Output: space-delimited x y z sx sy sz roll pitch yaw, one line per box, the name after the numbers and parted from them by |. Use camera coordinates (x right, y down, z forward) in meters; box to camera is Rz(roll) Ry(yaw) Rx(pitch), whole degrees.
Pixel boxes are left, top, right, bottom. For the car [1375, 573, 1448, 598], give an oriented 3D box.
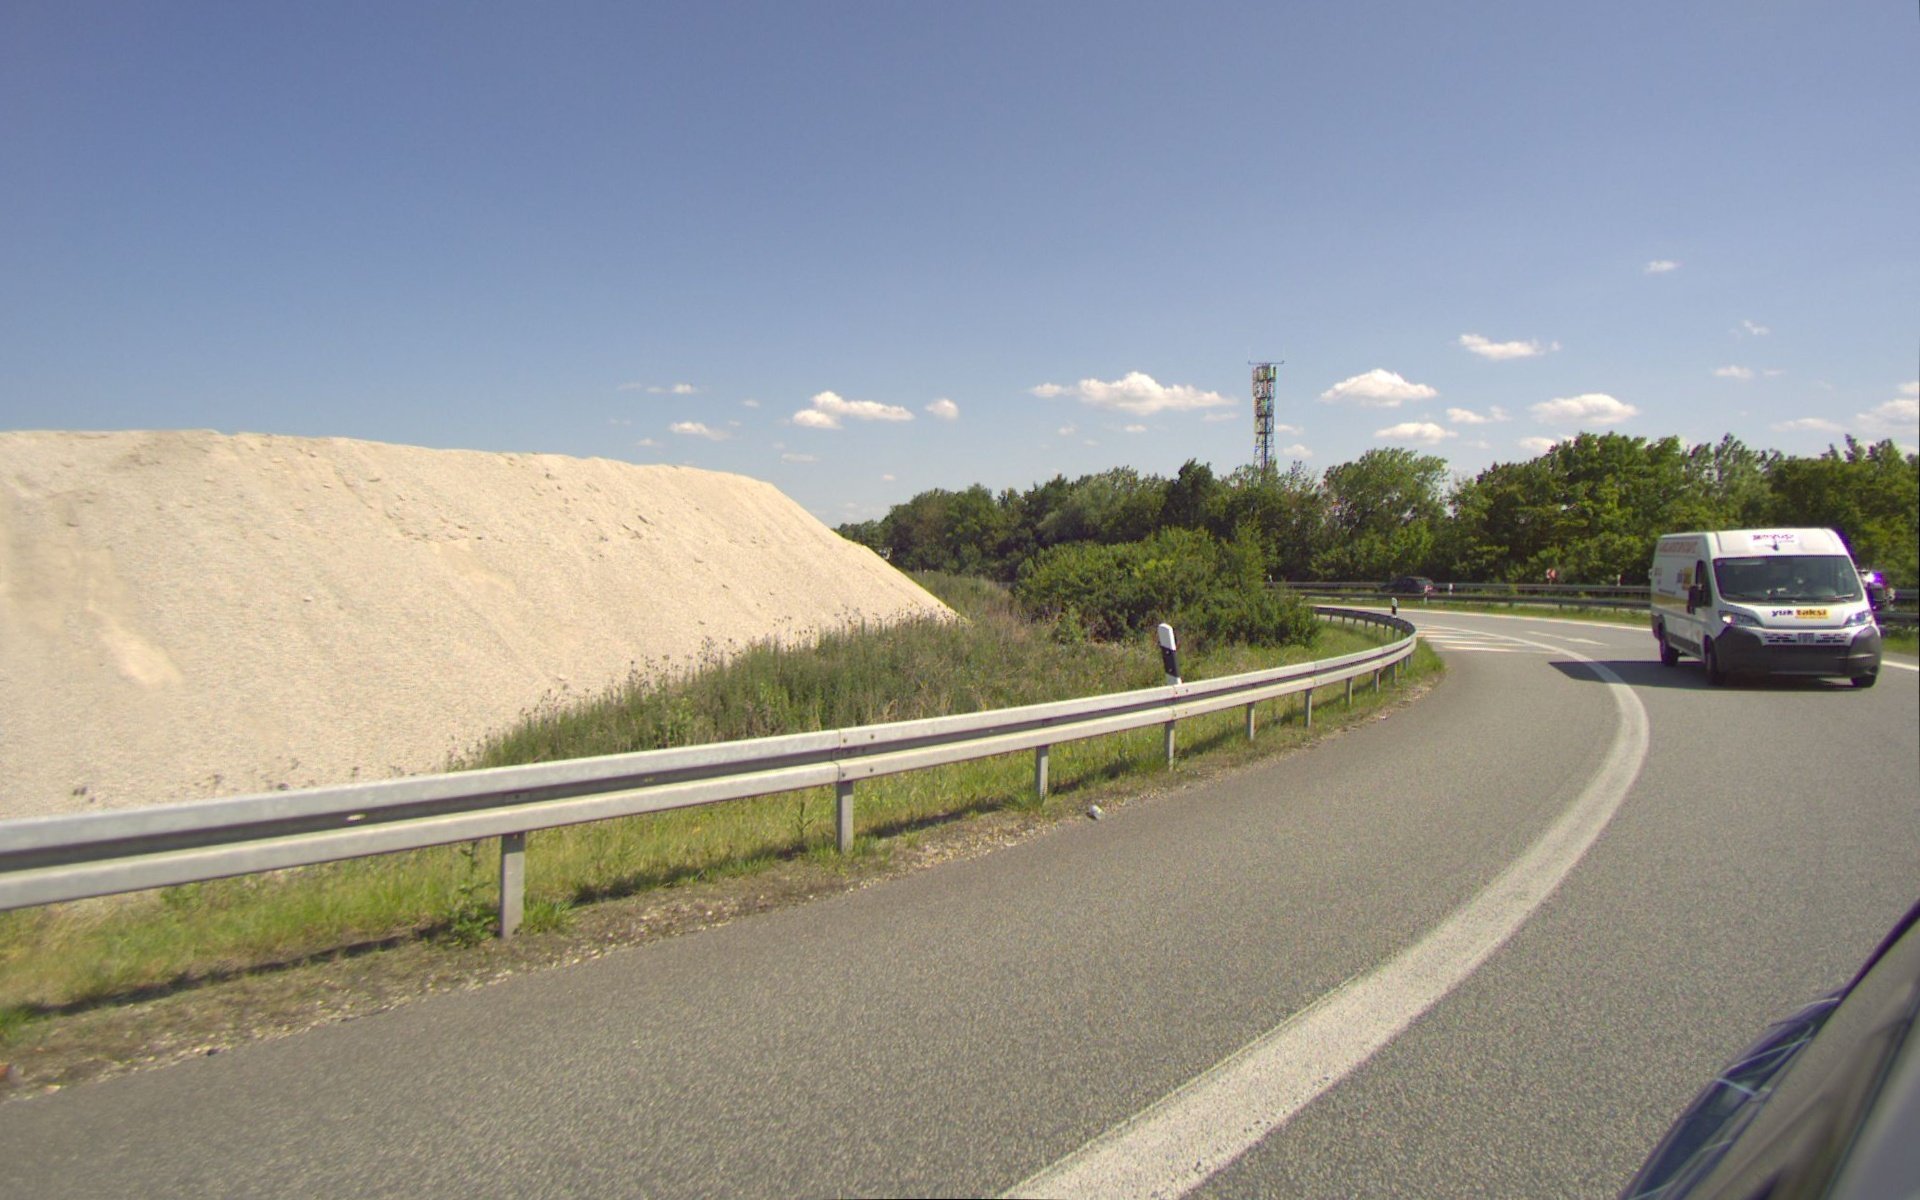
28.434 -0.916 63.846 1.762 1.466 4.711 -2 1 -11 | car

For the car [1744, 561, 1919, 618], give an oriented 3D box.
29.142 -0.362 34.050 1.966 1.752 5.186 -1 1 8 | car

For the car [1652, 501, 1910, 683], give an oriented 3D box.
13.699 -0.087 17.397 2.068 2.556 6.178 -3 -1 27 | car
